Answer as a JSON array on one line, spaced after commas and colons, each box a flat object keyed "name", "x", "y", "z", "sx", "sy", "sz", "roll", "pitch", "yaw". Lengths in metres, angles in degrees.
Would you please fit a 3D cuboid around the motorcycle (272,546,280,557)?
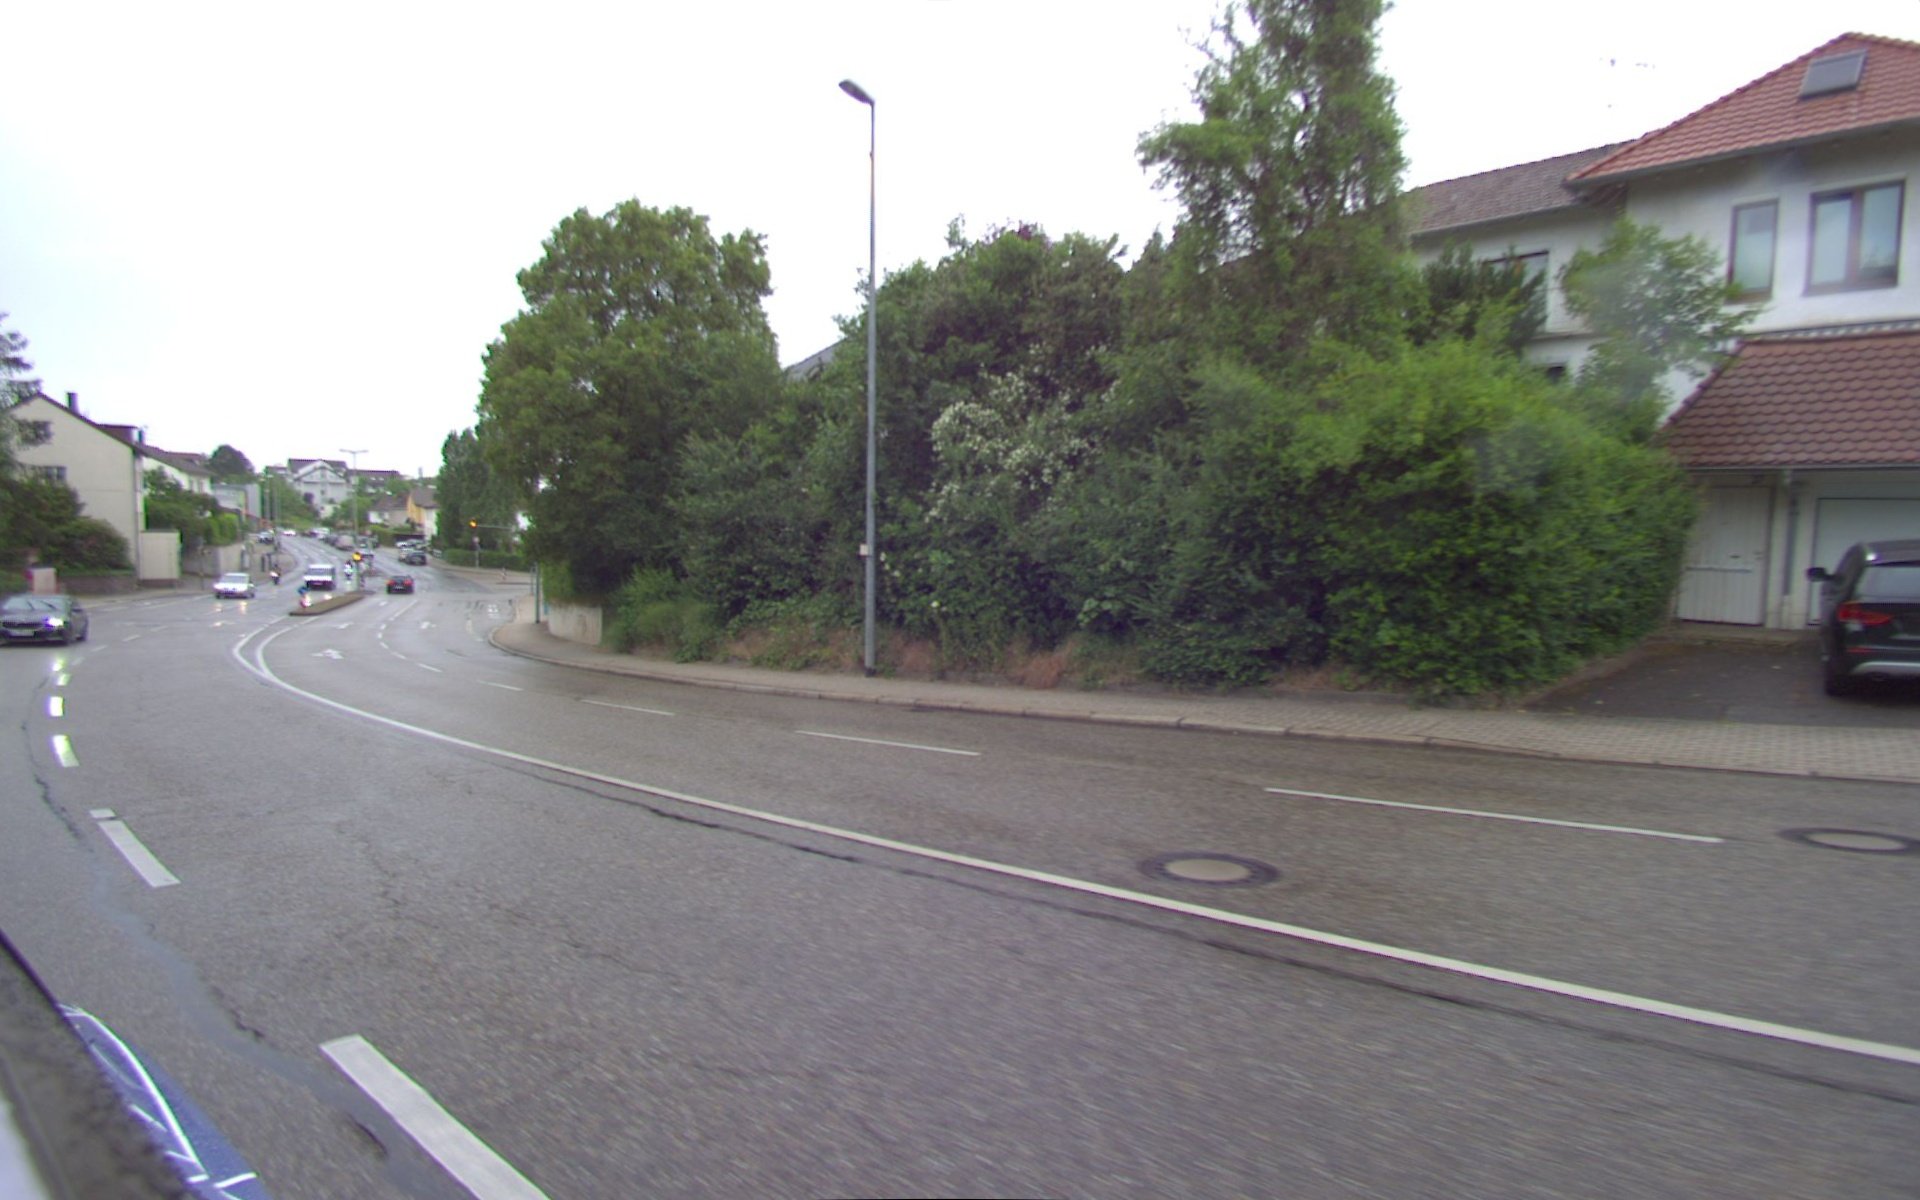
[{"name": "motorcycle", "x": -89.221, "y": -6.376, "z": 131.996, "sx": 0.683, "sy": 1.334, "sz": 2.485, "roll": 0, "pitch": 4, "yaw": -37}]

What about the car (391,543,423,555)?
[{"name": "car", "x": -87.232, "y": -8.003, "z": 159.731, "sx": 4.049, "sy": 1.495, "sz": 1.843, "roll": 4, "pitch": 1, "yaw": -43}]

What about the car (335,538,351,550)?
[{"name": "car", "x": -92.693, "y": -8.352, "z": 152.001, "sx": 1.874, "sy": 1.695, "sz": 4.491, "roll": 0, "pitch": 2, "yaw": -35}]

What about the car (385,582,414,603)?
[{"name": "car", "x": -43.130, "y": -0.578, "z": 77.934, "sx": 1.865, "sy": 1.498, "sz": 4.248, "roll": 1, "pitch": 1, "yaw": -29}]

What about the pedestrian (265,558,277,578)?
[{"name": "pedestrian", "x": -66.134, "y": -3.096, "z": 97.125, "sx": 0.782, "sy": 1.793, "sz": 1.015, "roll": 2, "pitch": 4, "yaw": -29}]

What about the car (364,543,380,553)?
[{"name": "car", "x": -93.071, "y": -8.211, "z": 160.199, "sx": 1.780, "sy": 1.426, "sz": 4.011, "roll": 1, "pitch": 4, "yaw": -35}]

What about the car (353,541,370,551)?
[{"name": "car", "x": -97.140, "y": -8.834, "z": 164.196, "sx": 1.781, "sy": 1.426, "sz": 4.009, "roll": 0, "pitch": 4, "yaw": -38}]

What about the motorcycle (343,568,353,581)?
[{"name": "motorcycle", "x": -56.816, "y": -2.363, "z": 93.898, "sx": 0.751, "sy": 0.959, "sz": 2.450, "roll": 0, "pitch": 5, "yaw": -30}]

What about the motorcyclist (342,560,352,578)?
[{"name": "motorcyclist", "x": -56.728, "y": -2.889, "z": 93.722, "sx": 0.749, "sy": 1.614, "sz": 0.811, "roll": 1, "pitch": 4, "yaw": -29}]

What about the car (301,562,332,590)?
[{"name": "car", "x": -49.948, "y": -1.912, "z": 78.632, "sx": 1.924, "sy": 1.884, "sz": 4.761, "roll": 1, "pitch": 4, "yaw": -32}]

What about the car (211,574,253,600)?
[{"name": "car", "x": -46.717, "y": -0.838, "z": 65.002, "sx": 1.810, "sy": 1.492, "sz": 4.013, "roll": 1, "pitch": 3, "yaw": -31}]

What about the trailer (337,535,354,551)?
[{"name": "trailer", "x": -90.210, "y": -8.362, "z": 148.508, "sx": 1.870, "sy": 2.195, "sz": 4.047, "roll": 0, "pitch": 3, "yaw": -34}]

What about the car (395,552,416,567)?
[{"name": "car", "x": -69.190, "y": -5.077, "z": 126.218, "sx": 1.780, "sy": 1.579, "sz": 4.155, "roll": 0, "pitch": 5, "yaw": -35}]

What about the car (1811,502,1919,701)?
[{"name": "car", "x": 10.613, "y": -0.112, "z": 11.100, "sx": 1.853, "sy": 1.690, "sz": 3.951, "roll": 0, "pitch": 7, "yaw": 39}]

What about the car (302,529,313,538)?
[{"name": "car", "x": -126.370, "y": -12.854, "z": 195.993, "sx": 1.689, "sy": 1.513, "sz": 4.011, "roll": 0, "pitch": 5, "yaw": -36}]

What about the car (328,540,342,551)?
[{"name": "car", "x": -99.572, "y": -8.735, "z": 161.220, "sx": 1.816, "sy": 1.563, "sz": 4.396, "roll": 1, "pitch": 4, "yaw": -34}]

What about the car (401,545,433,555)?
[{"name": "car", "x": -83.283, "y": -7.730, "z": 155.261, "sx": 4.044, "sy": 1.430, "sz": 1.889, "roll": -2, "pitch": 6, "yaw": -35}]

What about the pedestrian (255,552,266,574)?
[{"name": "pedestrian", "x": -66.002, "y": -3.504, "z": 95.544, "sx": 0.786, "sy": 2.028, "sz": 0.737, "roll": 0, "pitch": 4, "yaw": -29}]

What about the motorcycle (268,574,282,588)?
[{"name": "motorcycle", "x": -56.146, "y": -1.596, "z": 82.947, "sx": 0.751, "sy": 0.959, "sz": 2.450, "roll": 0, "pitch": 5, "yaw": -30}]

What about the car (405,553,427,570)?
[{"name": "car", "x": -65.143, "y": -4.617, "z": 121.097, "sx": 1.780, "sy": 1.681, "sz": 4.612, "roll": 0, "pitch": 5, "yaw": -35}]

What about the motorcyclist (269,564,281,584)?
[{"name": "motorcyclist", "x": -56.156, "y": -2.143, "z": 83.011, "sx": 0.749, "sy": 1.614, "sz": 0.811, "roll": 1, "pitch": 4, "yaw": -29}]

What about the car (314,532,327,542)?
[{"name": "car", "x": -115.767, "y": -11.437, "z": 183.200, "sx": 1.811, "sy": 1.567, "sz": 4.784, "roll": 1, "pitch": 5, "yaw": -35}]

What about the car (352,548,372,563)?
[{"name": "car", "x": -78.602, "y": -5.878, "z": 132.909, "sx": 1.799, "sy": 1.669, "sz": 4.478, "roll": 1, "pitch": 4, "yaw": -37}]

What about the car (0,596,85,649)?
[{"name": "car", "x": -27.547, "y": 0.629, "z": 30.423, "sx": 1.813, "sy": 1.468, "sz": 4.007, "roll": 0, "pitch": 0, "yaw": -40}]

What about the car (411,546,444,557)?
[{"name": "car", "x": -77.373, "y": -7.068, "z": 147.076, "sx": 3.934, "sy": 1.430, "sz": 1.889, "roll": -4, "pitch": 6, "yaw": -35}]

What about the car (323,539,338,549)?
[{"name": "car", "x": -106.725, "y": -9.494, "z": 171.541, "sx": 1.966, "sy": 1.585, "sz": 4.012, "roll": 1, "pitch": 5, "yaw": -34}]
